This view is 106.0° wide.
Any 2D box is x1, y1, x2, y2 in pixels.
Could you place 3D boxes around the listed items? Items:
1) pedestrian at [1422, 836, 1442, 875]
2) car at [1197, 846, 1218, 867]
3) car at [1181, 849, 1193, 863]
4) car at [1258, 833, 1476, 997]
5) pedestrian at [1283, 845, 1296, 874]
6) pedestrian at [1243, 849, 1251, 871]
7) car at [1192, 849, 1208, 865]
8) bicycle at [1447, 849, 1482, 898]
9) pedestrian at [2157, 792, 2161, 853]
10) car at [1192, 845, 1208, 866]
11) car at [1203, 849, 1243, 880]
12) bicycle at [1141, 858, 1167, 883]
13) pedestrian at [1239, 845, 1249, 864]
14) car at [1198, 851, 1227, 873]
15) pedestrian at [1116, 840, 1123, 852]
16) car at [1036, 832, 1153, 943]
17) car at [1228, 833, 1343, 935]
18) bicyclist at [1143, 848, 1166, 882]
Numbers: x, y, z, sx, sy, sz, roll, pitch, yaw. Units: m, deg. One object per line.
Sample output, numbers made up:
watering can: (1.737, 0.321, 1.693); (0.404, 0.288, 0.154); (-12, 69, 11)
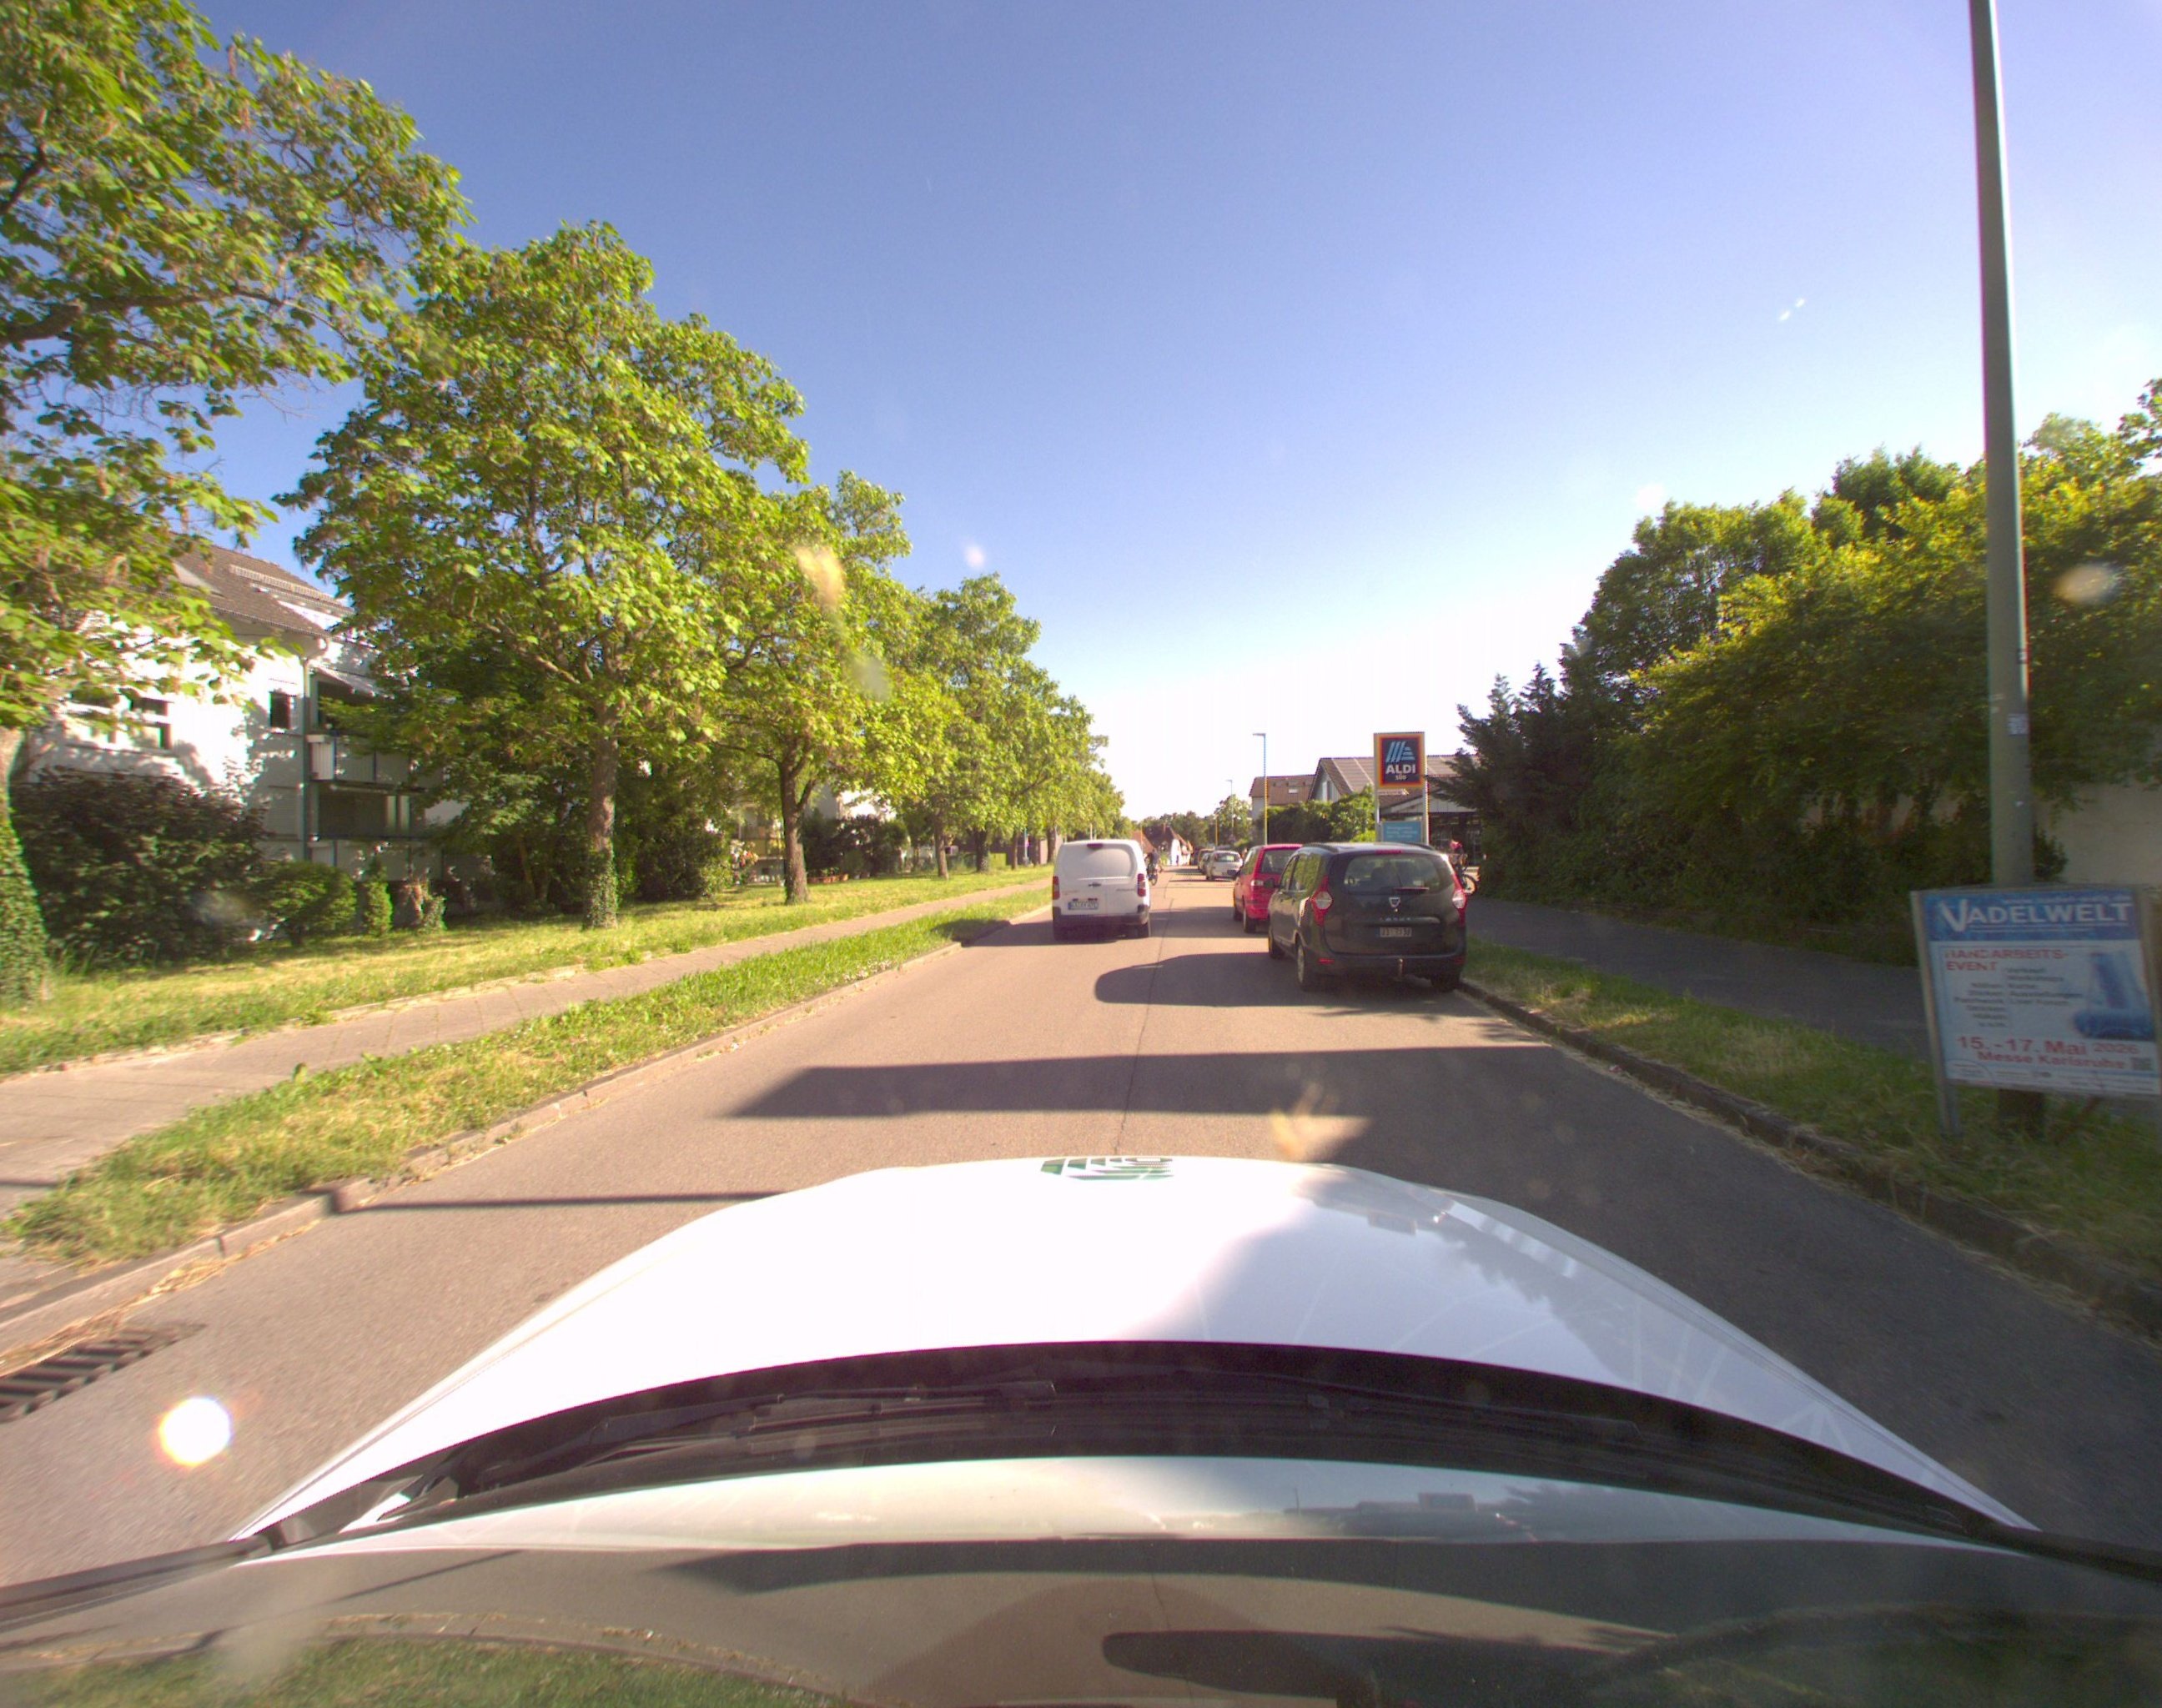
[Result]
pedestrian: (15.064, 0.059, 34.924); (0.685, 1.631, 0.781); (-1, 0, 28)
car: (11.193, 0.238, 72.231); (1.714, 1.837, 4.009); (-1, 0, 8)
car: (16.265, 0.388, 125.068); (1.795, 2.069, 4.006); (1, -1, 6)
car: (3.375, 0.621, 10.469); (1.715, 1.656, 4.361); (-1, 0, 7)
pedestrian: (13.261, 0.339, 51.806); (0.792, 1.782, 0.812); (-1, 0, 15)
pedestrian: (12.518, 0.452, 61.345); (0.563, 1.637, 0.548); (-1, 0, 12)
car: (14.462, 0.372, 98.998); (1.795, 1.785, 4.006); (1, -1, 6)
bicycle: (10.120, 0.497, 21.526); (0.714, 1.221, 1.906); (-3, -2, 23)
pedestrian: (7.153, 0.441, 4.572); (0.800, 1.717, 0.984); (-3, -2, 3)
car: (15.537, 0.205, 106.229); (1.857, 2.562, 4.775); (1, -1, 6)
car: (7.610, 0.556, 43.834); (1.672, 1.599, 4.032); (-1, 0, 4)
bicycle: (3.454, 0.753, 38.680); (0.786, 1.138, 2.274); (-1, 0, -6)
pedestrian: (16.410, 0.048, 81.865); (0.791, 1.861, 0.874); (-1, 0, 0)
car: (8.873, 0.523, 55.227); (1.797, 1.443, 4.372); (-1, 0, 7)
pedestrian: (4.766, -0.955, 101.544); (0.504, 1.446, 0.643); (-1, 0, 40)
car: (0.415, 0.582, 16.361); (1.984, 1.882, 4.295); (-1, 0, 5)
car: (4.116, 0.539, 17.091); (1.830, 1.805, 4.664); (-1, 0, 8)
bicyclist: (3.466, 0.502, 38.662); (0.904, 1.584, 0.964); (0, -1, -7)
